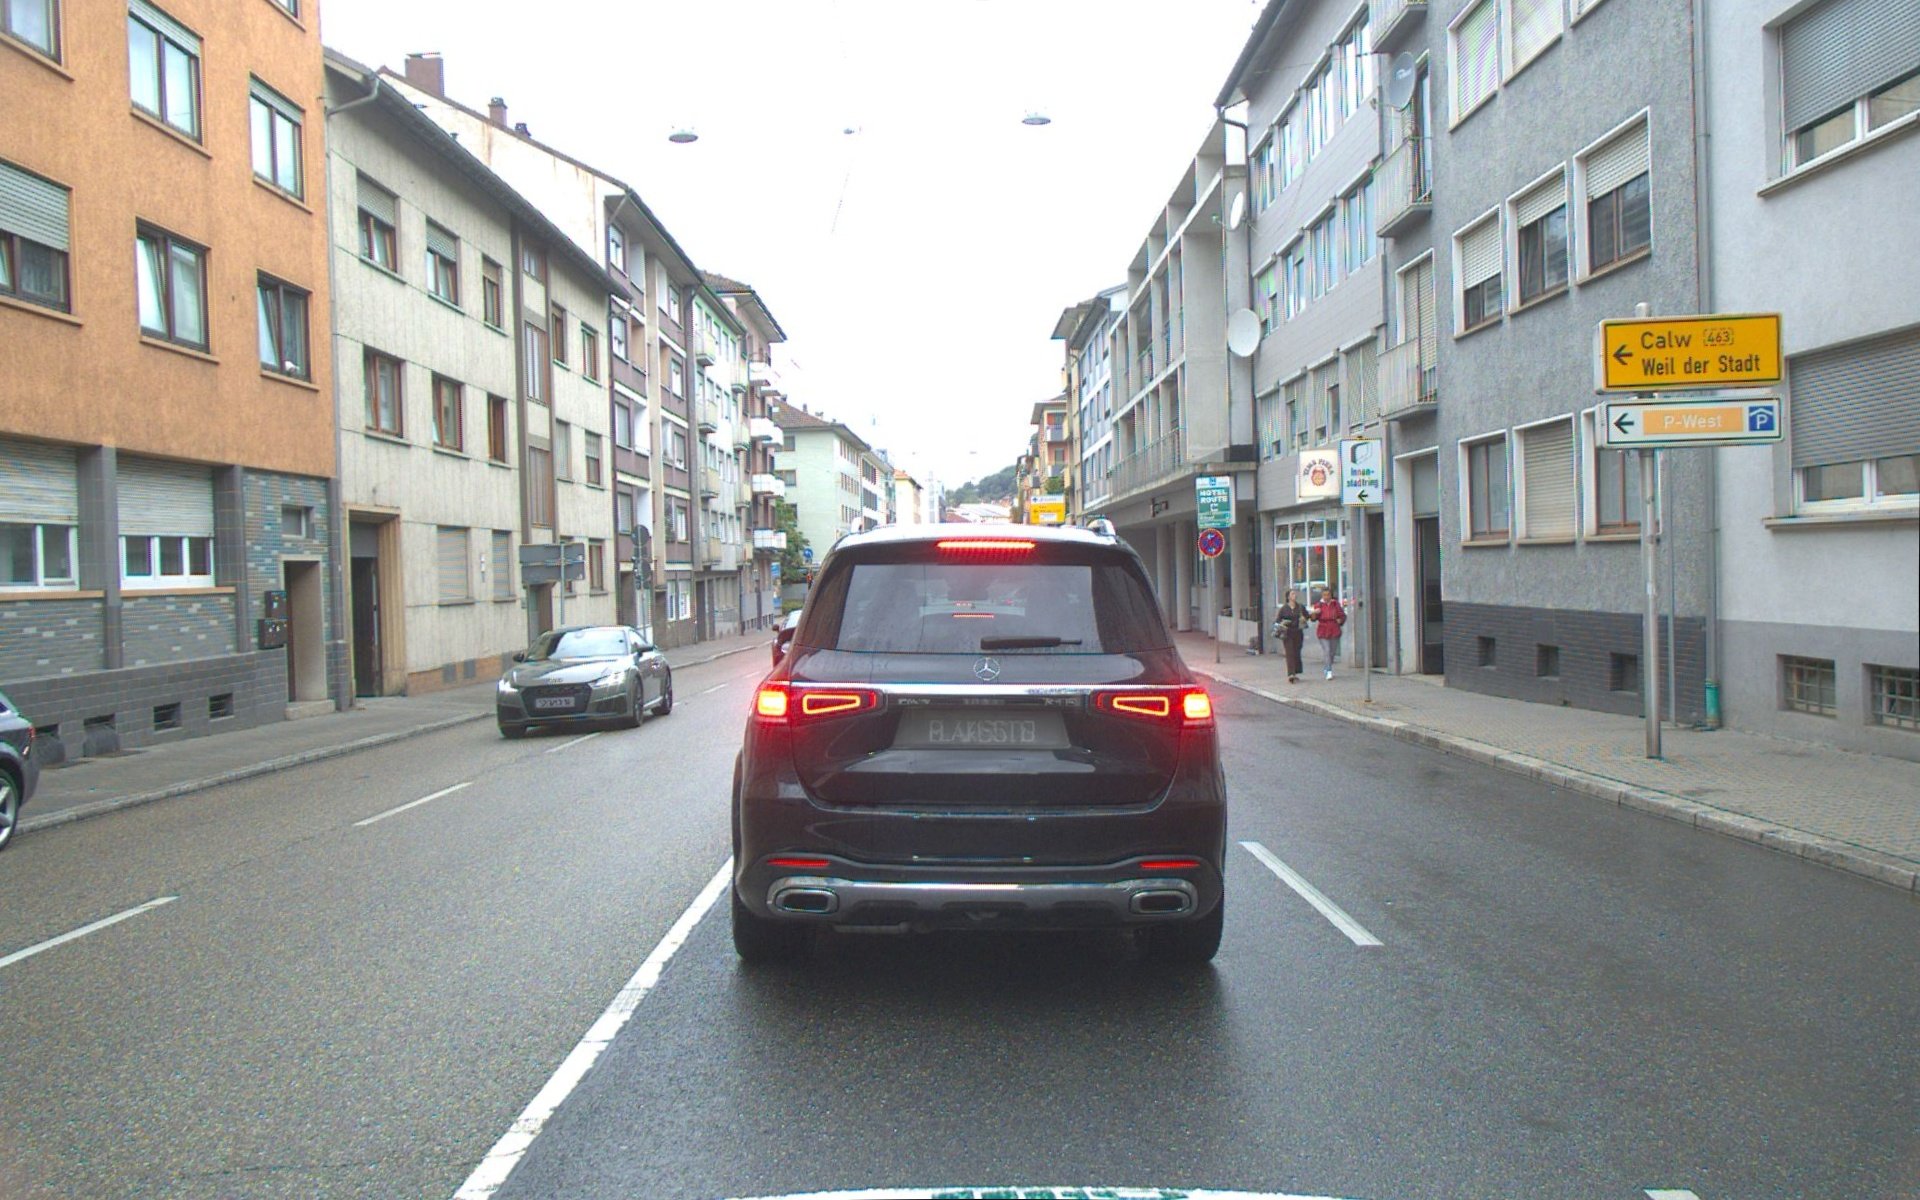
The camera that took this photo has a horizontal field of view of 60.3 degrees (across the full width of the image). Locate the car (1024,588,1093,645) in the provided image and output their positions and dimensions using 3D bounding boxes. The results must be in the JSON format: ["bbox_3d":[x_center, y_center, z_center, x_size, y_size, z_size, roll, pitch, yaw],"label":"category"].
[{"bbox_3d":[3.179,0.514,54.322,1.901,1.806,4.745,0,0,-1],"label":"car"}]

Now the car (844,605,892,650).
[{"bbox_3d":[-3.734,1.092,67.620,1.698,1.602,4.010,-5,0,-1],"label":"car"}]

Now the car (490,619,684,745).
[{"bbox_3d":[-4.990,1.049,22.635,1.732,1.369,3.888,-5,0,-1],"label":"car"}]

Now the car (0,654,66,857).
[{"bbox_3d":[-7.960,1.162,10.885,1.759,1.463,4.525,1,0,-1],"label":"car"}]

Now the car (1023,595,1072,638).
[{"bbox_3d":[3.411,0.628,65.273,1.771,1.634,4.212,0,0,1],"label":"car"}]

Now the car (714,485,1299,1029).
[{"bbox_3d":[0.120,0.540,7.688,1.984,1.837,3.999,1,0,-1],"label":"car"}]

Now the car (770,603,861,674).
[{"bbox_3d":[-3.247,0.837,37.866,1.690,1.414,4.338,-3,0,-1],"label":"car"}]

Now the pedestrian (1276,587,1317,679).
[{"bbox_3d":[5.799,0.562,28.527,0.496,1.526,0.562,-4,0,-2],"label":"pedestrian"}]

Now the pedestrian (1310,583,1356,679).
[{"bbox_3d":[6.411,0.526,28.440,0.549,1.606,0.526,-4,0,-2],"label":"pedestrian"}]

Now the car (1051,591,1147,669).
[{"bbox_3d":[3.012,0.626,36.548,1.731,1.608,3.999,0,0,-1],"label":"car"}]
